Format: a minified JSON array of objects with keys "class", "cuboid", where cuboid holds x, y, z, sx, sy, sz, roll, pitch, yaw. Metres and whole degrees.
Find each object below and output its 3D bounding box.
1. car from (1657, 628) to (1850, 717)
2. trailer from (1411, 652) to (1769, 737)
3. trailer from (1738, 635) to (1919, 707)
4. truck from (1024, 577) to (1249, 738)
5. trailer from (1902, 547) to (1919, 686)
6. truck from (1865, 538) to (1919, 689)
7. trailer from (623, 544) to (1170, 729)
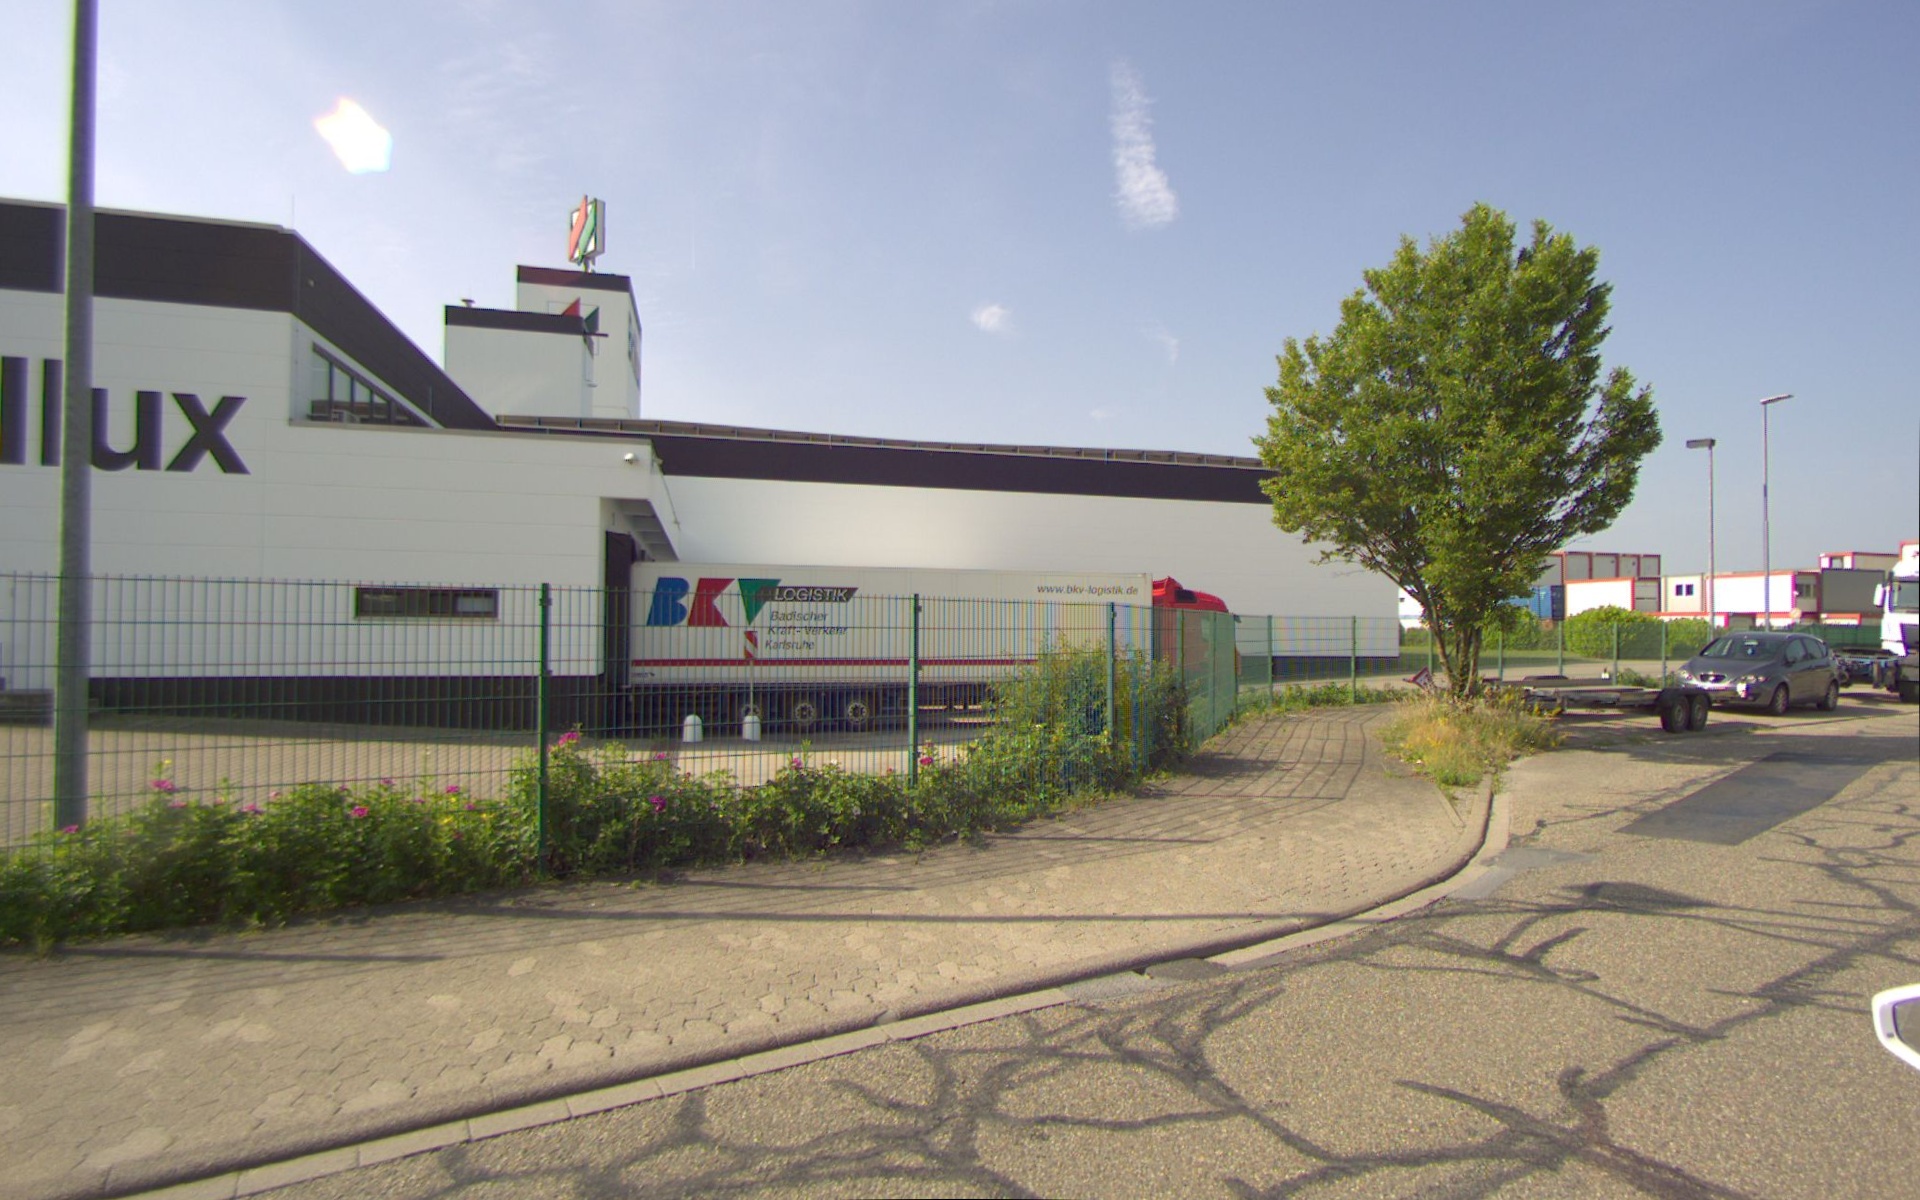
[{"class":"car","cuboid":[16.343,1.414,20.644,4.286,1.582,1.687,1,1,-31]},{"class":"trailer","cuboid":[10.770,1.471,16.965,6.636,0.937,2.532,1,2,-33]},{"class":"trailer","cuboid":[21.387,1.621,24.065,5.017,1.473,2.669,1,-1,-30]},{"class":"truck","cuboid":[4.841,1.587,27.840,5.453,4.125,2.512,3,0,-16]},{"class":"trailer","cuboid":[30.977,0.645,29.691,7.492,3.973,2.684,3,0,-32]},{"class":"truck","cuboid":[27.122,0.442,27.241,4.250,3.974,2.694,3,0,-32]},{"class":"trailer","cuboid":[-1.393,1.073,26.067,13.660,4.095,2.482,3,0,-16]}]
